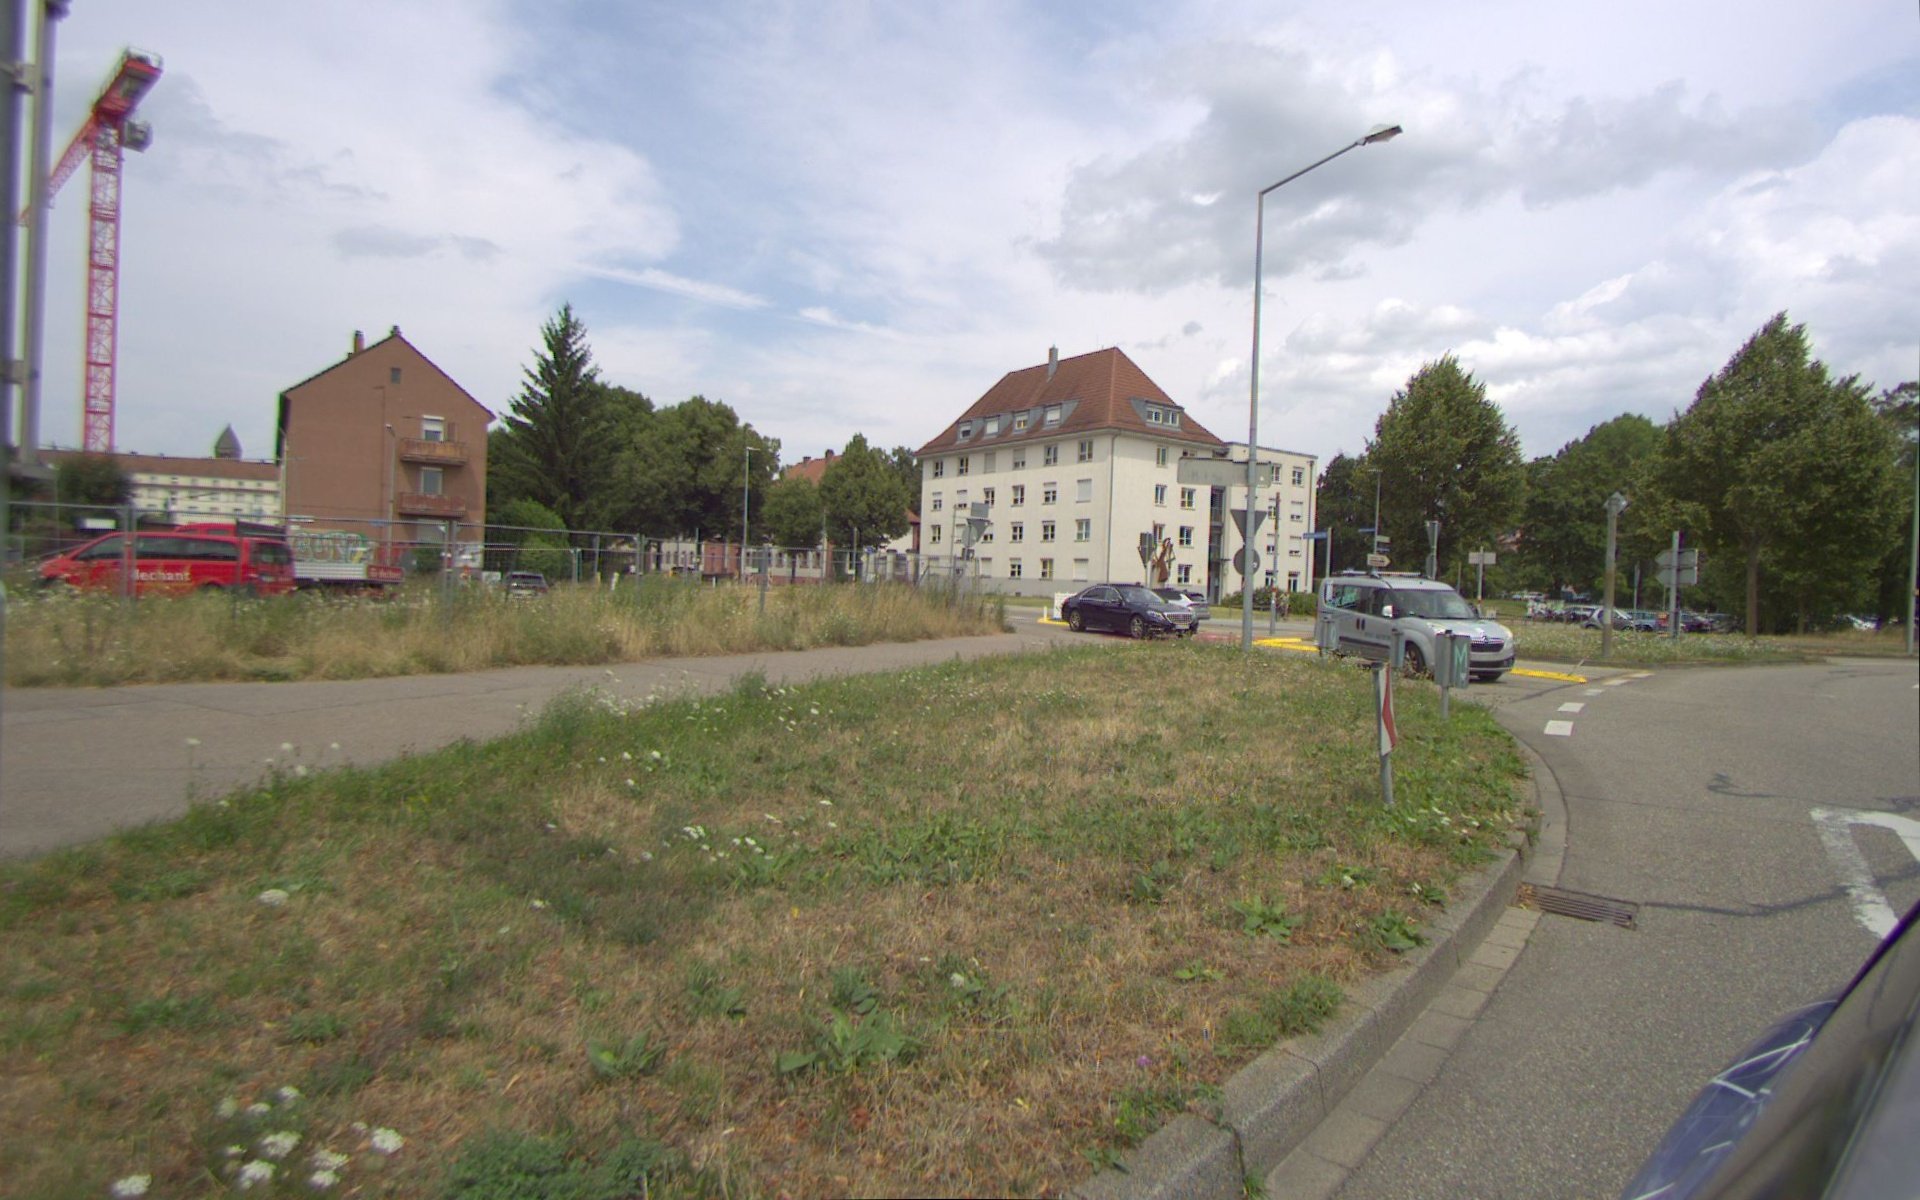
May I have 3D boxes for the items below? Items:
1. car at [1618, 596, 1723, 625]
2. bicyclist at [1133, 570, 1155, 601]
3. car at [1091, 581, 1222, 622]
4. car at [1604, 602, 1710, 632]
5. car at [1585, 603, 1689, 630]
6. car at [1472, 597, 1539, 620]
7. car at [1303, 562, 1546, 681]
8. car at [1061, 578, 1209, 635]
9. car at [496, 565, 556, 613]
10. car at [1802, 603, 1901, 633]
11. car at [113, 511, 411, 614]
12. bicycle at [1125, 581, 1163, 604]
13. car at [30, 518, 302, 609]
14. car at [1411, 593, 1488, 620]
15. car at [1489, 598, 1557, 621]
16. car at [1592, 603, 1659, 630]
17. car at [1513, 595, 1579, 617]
[{"bbox_3d":[43.551,0.610,62.141,1.798,1.489,4.891,1,2,-34],"label":"car"},{"bbox_3d":[8.922,-0.703,49.129,0.787,1.441,0.603,2,1,-28],"label":"bicyclist"},{"bbox_3d":[8.209,0.021,42.693,5.168,1.500,1.968,3,2,44],"label":"car"},{"bbox_3d":[41.586,0.976,60.507,1.798,1.489,4.891,1,2,-34],"label":"car"},{"bbox_3d":[39.383,0.950,58.986,1.799,1.490,4.704,1,0,-37],"label":"car"},{"bbox_3d":[40.000,0.639,74.223,1.584,1.486,4.008,1,2,-36],"label":"car"},{"bbox_3d":[8.622,0.296,19.331,1.773,1.971,4.594,2,2,-12],"label":"car"},{"bbox_3d":[5.089,0.131,30.157,1.781,1.523,4.878,1,1,-27],"label":"car"},{"bbox_3d":[-14.926,-0.421,34.936,1.730,1.491,4.269,1,2,-22],"label":"car"},{"bbox_3d":[71.615,1.443,81.360,2.159,2.081,5.573,1,2,-34],"label":"car"},{"bbox_3d":[-18.874,-1.007,27.623,6.414,2.442,2.320,2,1,-3],"label":"car"},{"bbox_3d":[8.926,-0.384,49.138,1.792,1.059,0.603,2,1,-28],"label":"bicycle"},{"bbox_3d":[-19.117,-0.838,24.568,4.889,1.935,1.938,2,-1,-4],"label":"car"},{"bbox_3d":[33.673,0.417,69.711,1.961,1.617,4.410,1,2,-34],"label":"car"},{"bbox_3d":[41.832,0.680,75.253,1.783,1.486,4.008,1,1,-36],"label":"car"},{"bbox_3d":[37.600,0.909,57.214,1.458,1.441,2.911,2,-1,-41],"label":"car"},{"bbox_3d":[44.870,0.471,77.560,1.783,1.486,4.008,1,2,-36],"label":"car"}]
